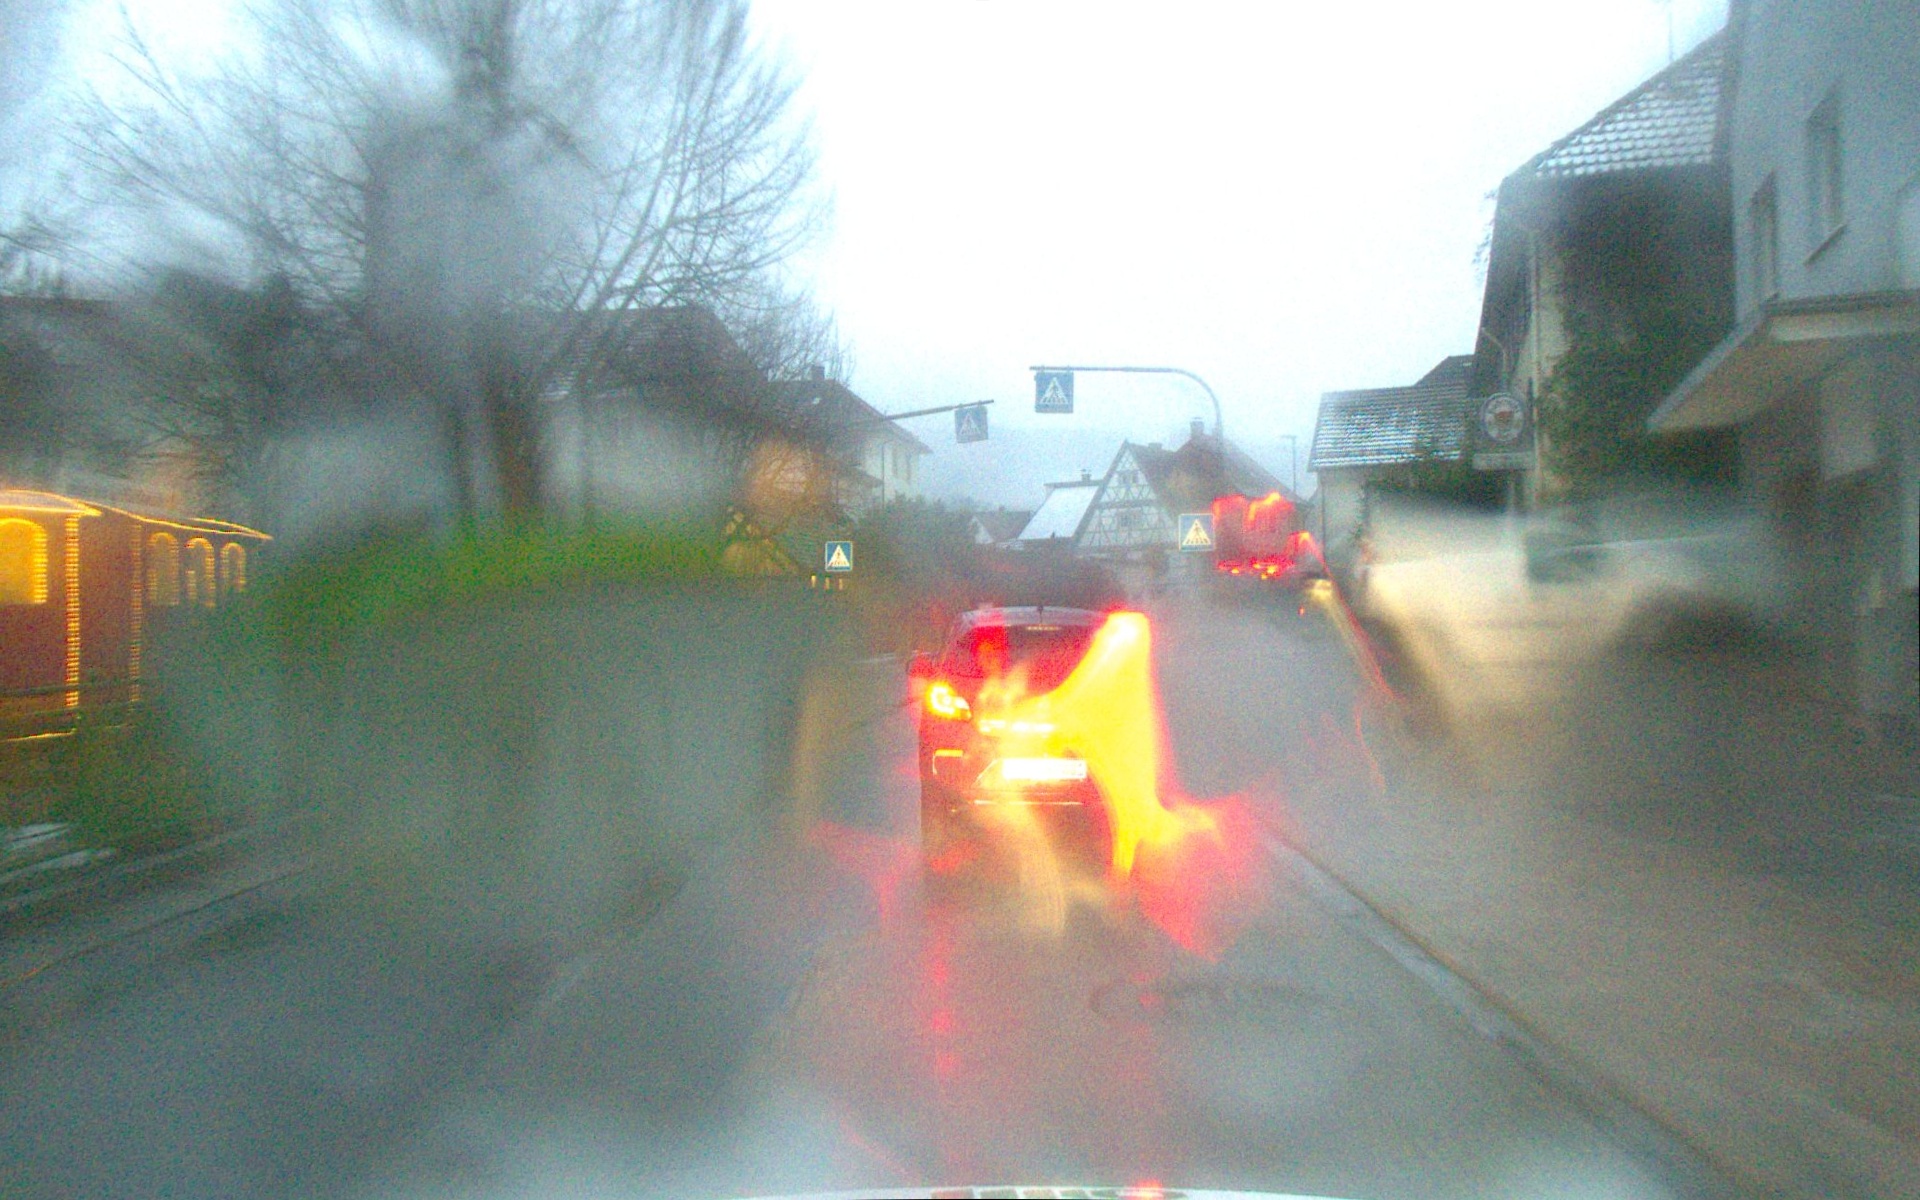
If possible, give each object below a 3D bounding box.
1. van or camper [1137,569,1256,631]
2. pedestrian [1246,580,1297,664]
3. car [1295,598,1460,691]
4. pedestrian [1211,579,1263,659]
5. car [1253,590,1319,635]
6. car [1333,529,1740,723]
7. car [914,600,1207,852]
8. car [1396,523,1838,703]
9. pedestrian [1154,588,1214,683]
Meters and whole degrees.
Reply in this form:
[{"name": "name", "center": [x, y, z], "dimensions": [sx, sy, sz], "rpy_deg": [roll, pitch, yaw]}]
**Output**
[{"name": "van or camper", "center": [13.127, 0.001, 92.042], "dimensions": [5.946, 3.006, 2.402], "rpy_deg": [-5, -2, 29]}, {"name": "pedestrian", "center": [6.830, 0.470, 36.224], "dimensions": [0.831, 1.763, 0.972], "rpy_deg": [-4, -1, 21]}, {"name": "car", "center": [7.392, 0.777, 29.386], "dimensions": [2.704, 1.500, 1.428], "rpy_deg": [-3, -1, 14]}, {"name": "pedestrian", "center": [6.106, 0.409, 36.432], "dimensions": [0.849, 1.696, 0.992], "rpy_deg": [-4, -1, 21]}, {"name": "car", "center": [12.687, 0.468, 64.149], "dimensions": [1.809, 1.665, 4.336], "rpy_deg": [0, 0, 21]}, {"name": "car", "center": [6.346, 0.300, 18.639], "dimensions": [3.956, 1.875, 1.865], "rpy_deg": [-3, -1, 8]}, {"name": "car", "center": [0.633, 0.759, 11.952], "dimensions": [1.758, 1.502, 4.000], "rpy_deg": [0, 0, 1]}, {"name": "car", "center": [8.114, 0.173, 20.939], "dimensions": [4.875, 1.922, 1.939], "rpy_deg": [-3, 0, 13]}, {"name": "pedestrian", "center": [4.380, 0.680, 32.307], "dimensions": [0.861, 1.765, 0.955], "rpy_deg": [-4, -1, 21]}]
